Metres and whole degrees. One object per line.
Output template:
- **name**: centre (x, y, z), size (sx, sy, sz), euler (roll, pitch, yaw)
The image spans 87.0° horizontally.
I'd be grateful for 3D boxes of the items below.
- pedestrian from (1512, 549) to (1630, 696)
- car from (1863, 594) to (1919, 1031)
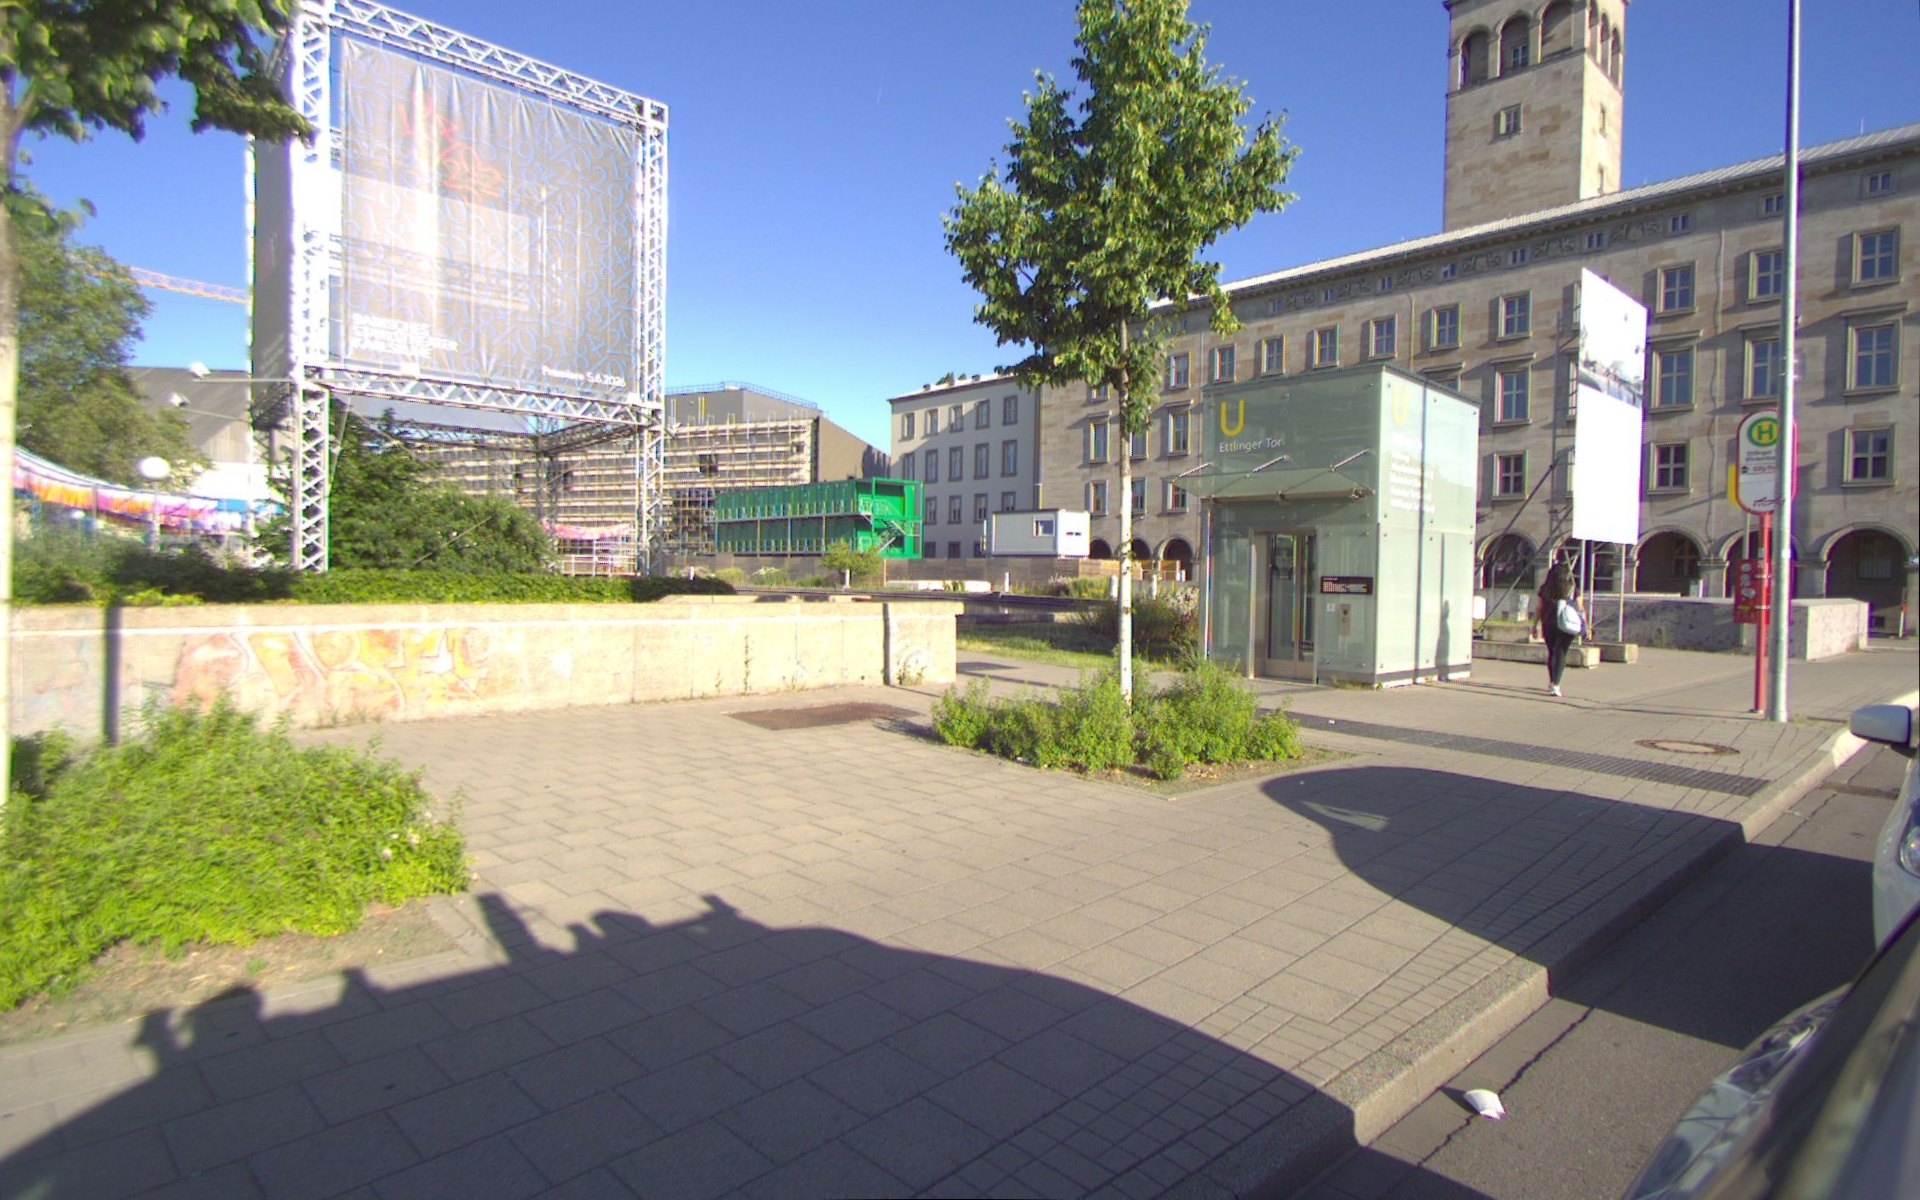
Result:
- **pedestrian**: centre (8.096, 0.272, 13.420), size (1.053, 1.808, 0.942), euler (0, 4, -41)
- **car**: centre (5.127, 0.714, 4.109), size (3.820, 1.467, 1.677), euler (0, 0, -40)
